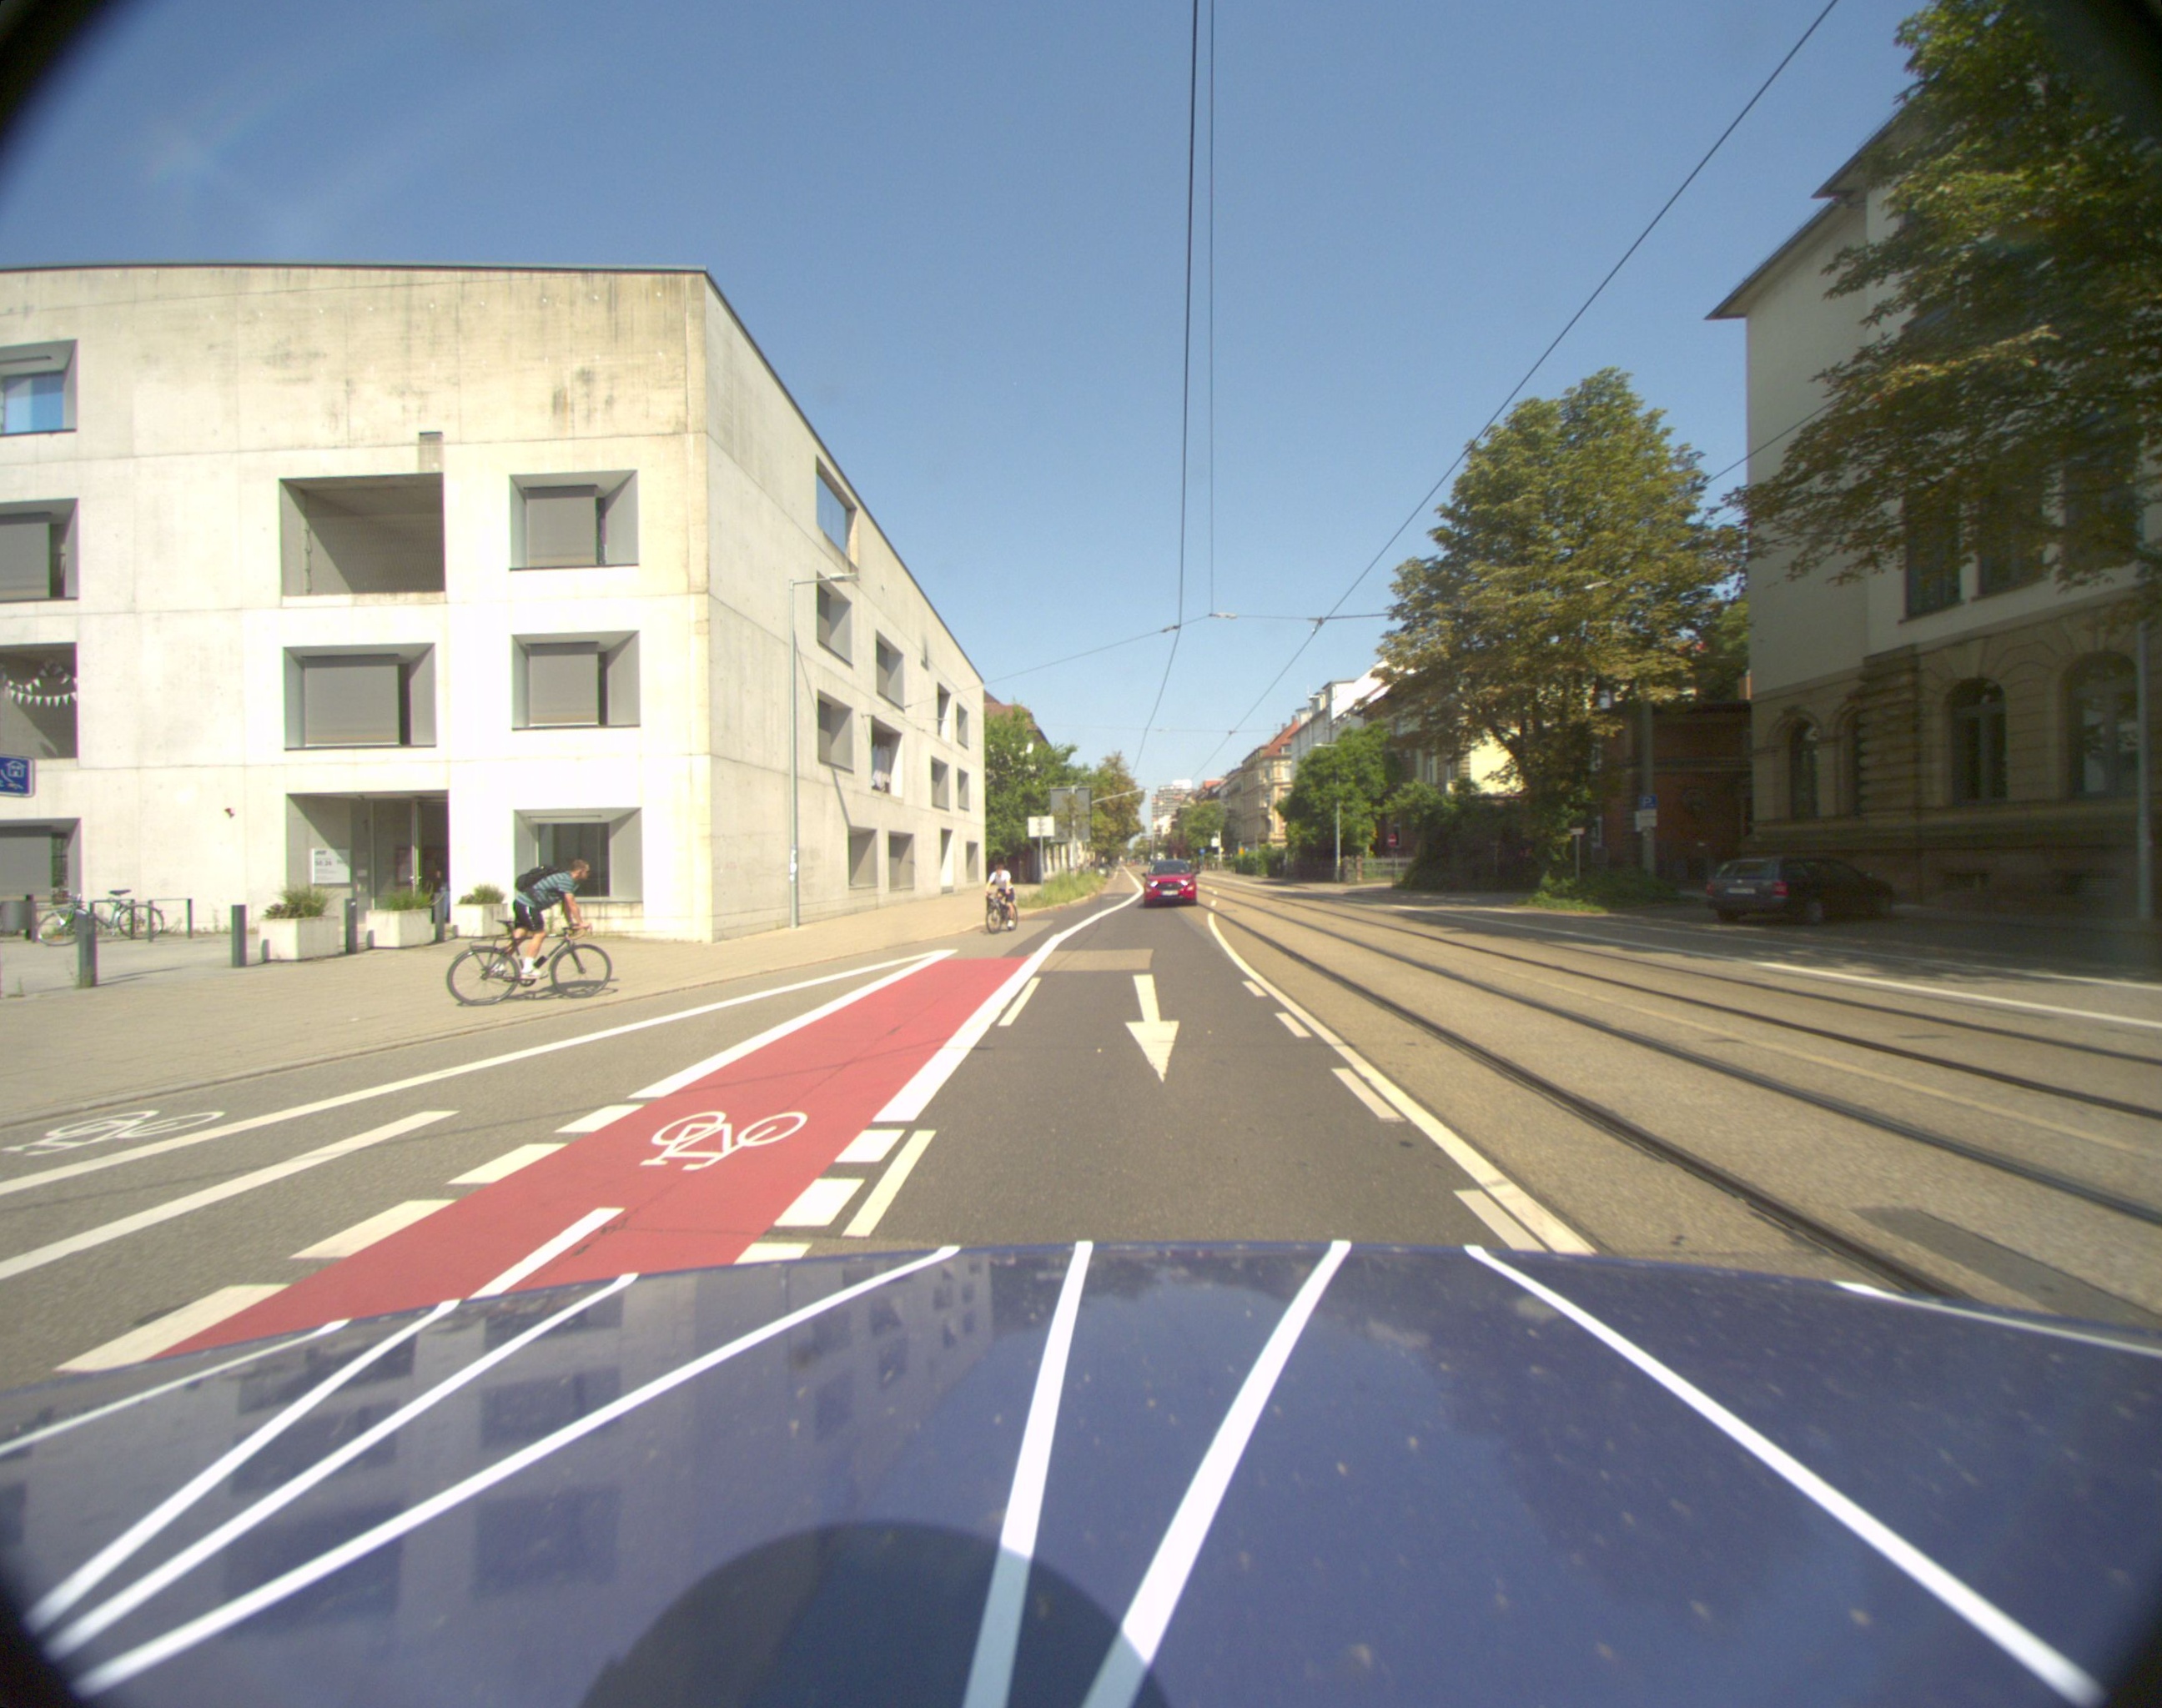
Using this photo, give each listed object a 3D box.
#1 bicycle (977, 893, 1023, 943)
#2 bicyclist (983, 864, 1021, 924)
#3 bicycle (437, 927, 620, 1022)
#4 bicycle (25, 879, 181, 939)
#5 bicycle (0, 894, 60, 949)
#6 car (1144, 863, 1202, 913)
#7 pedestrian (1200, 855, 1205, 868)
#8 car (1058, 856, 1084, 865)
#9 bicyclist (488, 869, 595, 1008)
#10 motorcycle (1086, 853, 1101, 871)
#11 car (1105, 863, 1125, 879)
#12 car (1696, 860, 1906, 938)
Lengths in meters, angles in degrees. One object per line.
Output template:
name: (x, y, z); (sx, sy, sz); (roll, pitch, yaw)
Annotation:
bicycle: (-1.965, 1.527, 18.679); (0.741, 1.042, 2.234); (-1, 0, 3)
bicyclist: (-1.943, 0.971, 18.772); (0.746, 1.403, 0.962); (-1, 0, 4)
bicycle: (-6.698, 1.418, 9.265); (1.715, 0.993, 0.614); (4, -2, -40)
bicycle: (-18.528, 1.016, 14.455); (0.619, 0.949, 1.685); (-1, 2, 10)
bicycle: (-20.684, 1.292, 14.279); (0.615, 0.994, 1.668); (1, 0, 14)
car: (3.105, 1.112, 26.273); (1.815, 1.542, 4.022); (-1, 0, 4)
pedestrian: (18.868, 1.187, 118.012); (0.657, 2.002, 0.974); (0, 0, 1)
car: (-1.670, 1.078, 130.359); (3.990, 1.434, 1.979); (-1, 0, 26)
bicyclist: (-6.619, 0.988, 9.336); (0.994, 1.589, 0.626); (-1, 0, -42)
motorcycle: (1.101, 0.713, 67.369); (0.887, 1.544, 2.414); (0, 0, 11)
car: (3.319, 1.673, 74.109); (1.787, 1.442, 4.751); (0, 0, 1)
car: (16.113, 0.916, 16.996); (4.434, 1.453, 1.817); (-1, 0, -23)
